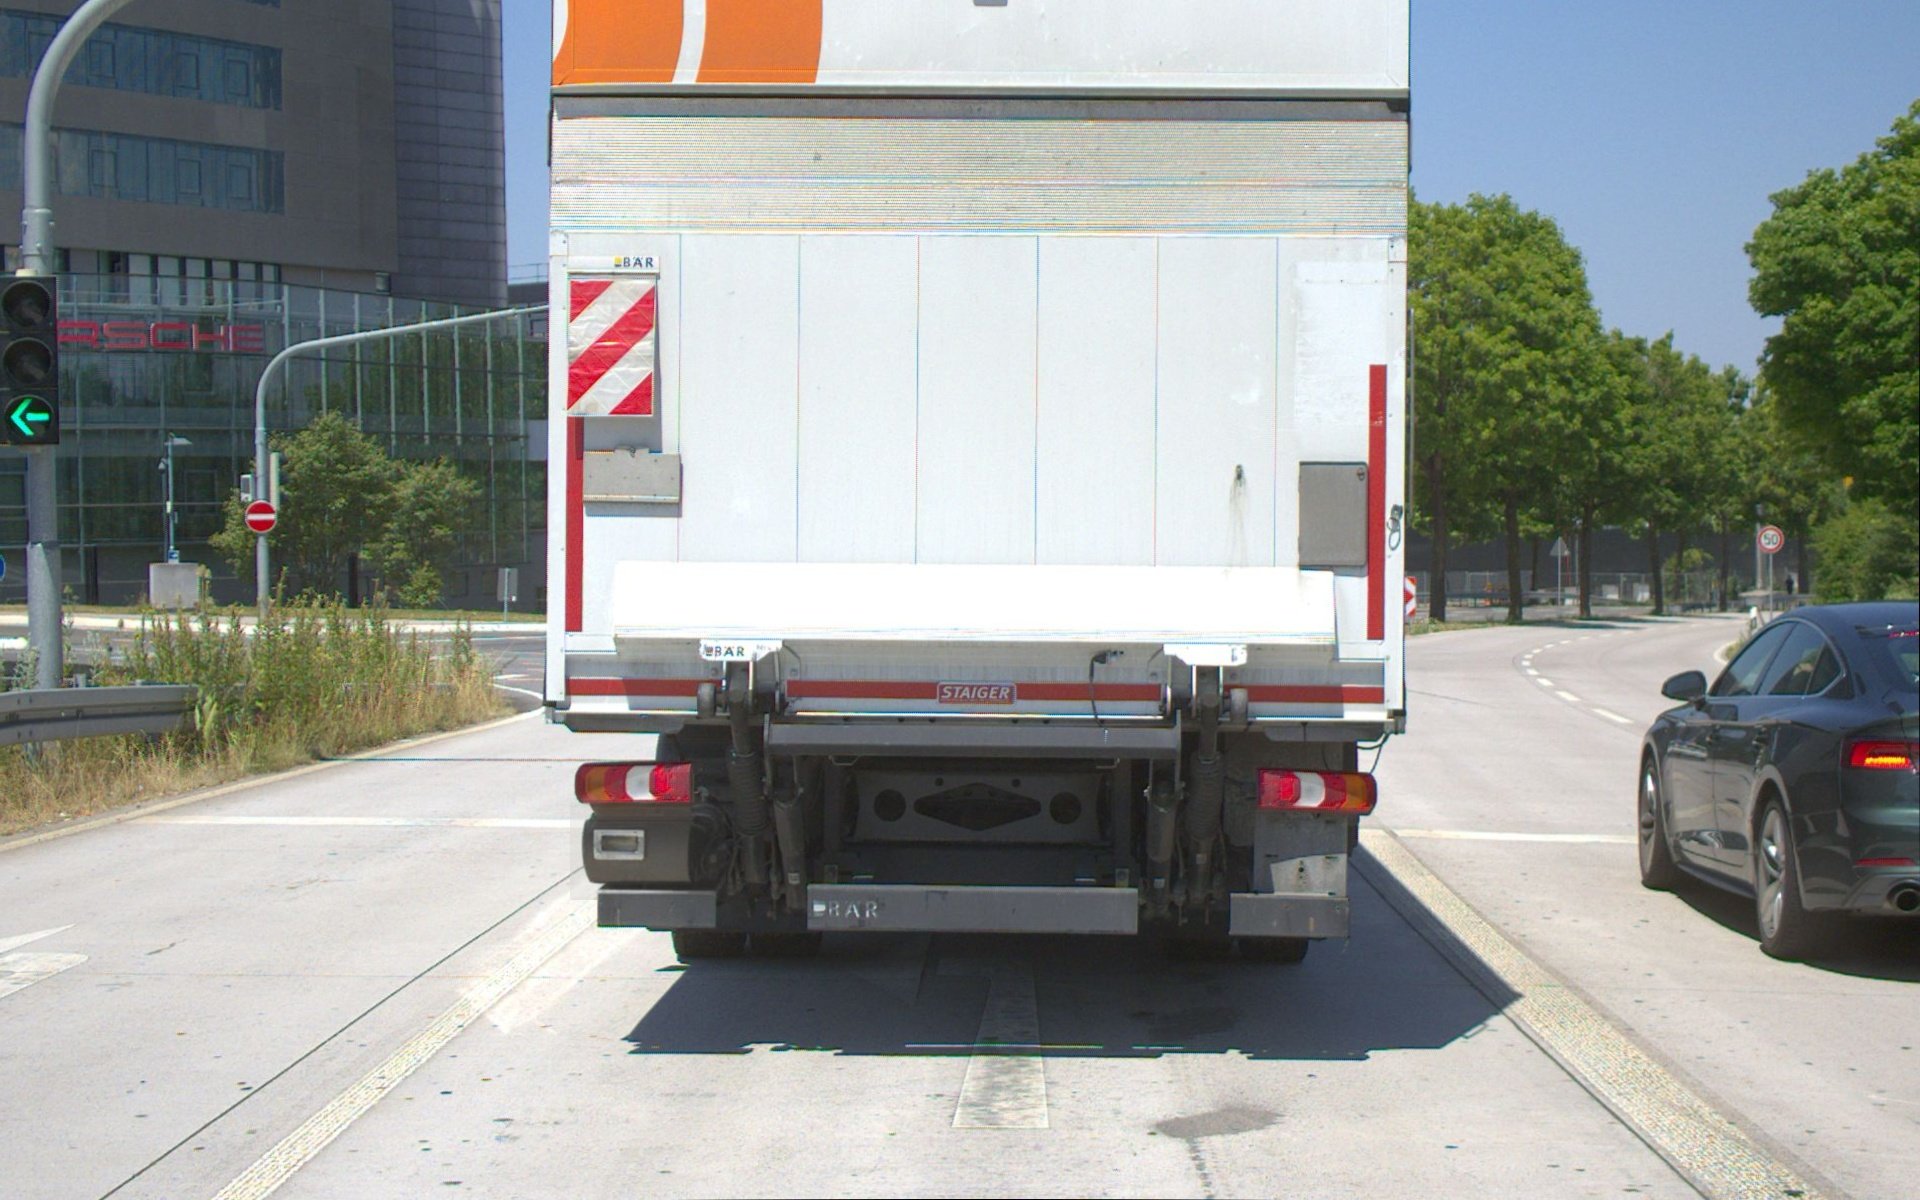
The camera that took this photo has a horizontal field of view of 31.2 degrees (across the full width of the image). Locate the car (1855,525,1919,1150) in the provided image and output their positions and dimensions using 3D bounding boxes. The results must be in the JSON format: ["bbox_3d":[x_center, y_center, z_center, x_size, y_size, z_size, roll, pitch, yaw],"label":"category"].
[{"bbox_3d":[3.428,0.641,7.285,1.783,1.634,4.647,1,0,-1],"label":"car"}]

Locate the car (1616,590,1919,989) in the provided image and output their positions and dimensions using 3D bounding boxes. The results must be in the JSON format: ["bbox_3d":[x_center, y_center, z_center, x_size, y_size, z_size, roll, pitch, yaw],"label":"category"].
[{"bbox_3d":[4.032,0.677,14.517,1.768,1.405,4.609,1,0,2],"label":"car"}]

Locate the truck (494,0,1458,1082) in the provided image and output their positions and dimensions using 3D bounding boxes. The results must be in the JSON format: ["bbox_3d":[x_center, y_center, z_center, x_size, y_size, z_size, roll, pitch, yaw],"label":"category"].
[{"bbox_3d":[0.108,-0.566,14.614,2.769,3.846,9.370,0,0,1],"label":"truck"}]
